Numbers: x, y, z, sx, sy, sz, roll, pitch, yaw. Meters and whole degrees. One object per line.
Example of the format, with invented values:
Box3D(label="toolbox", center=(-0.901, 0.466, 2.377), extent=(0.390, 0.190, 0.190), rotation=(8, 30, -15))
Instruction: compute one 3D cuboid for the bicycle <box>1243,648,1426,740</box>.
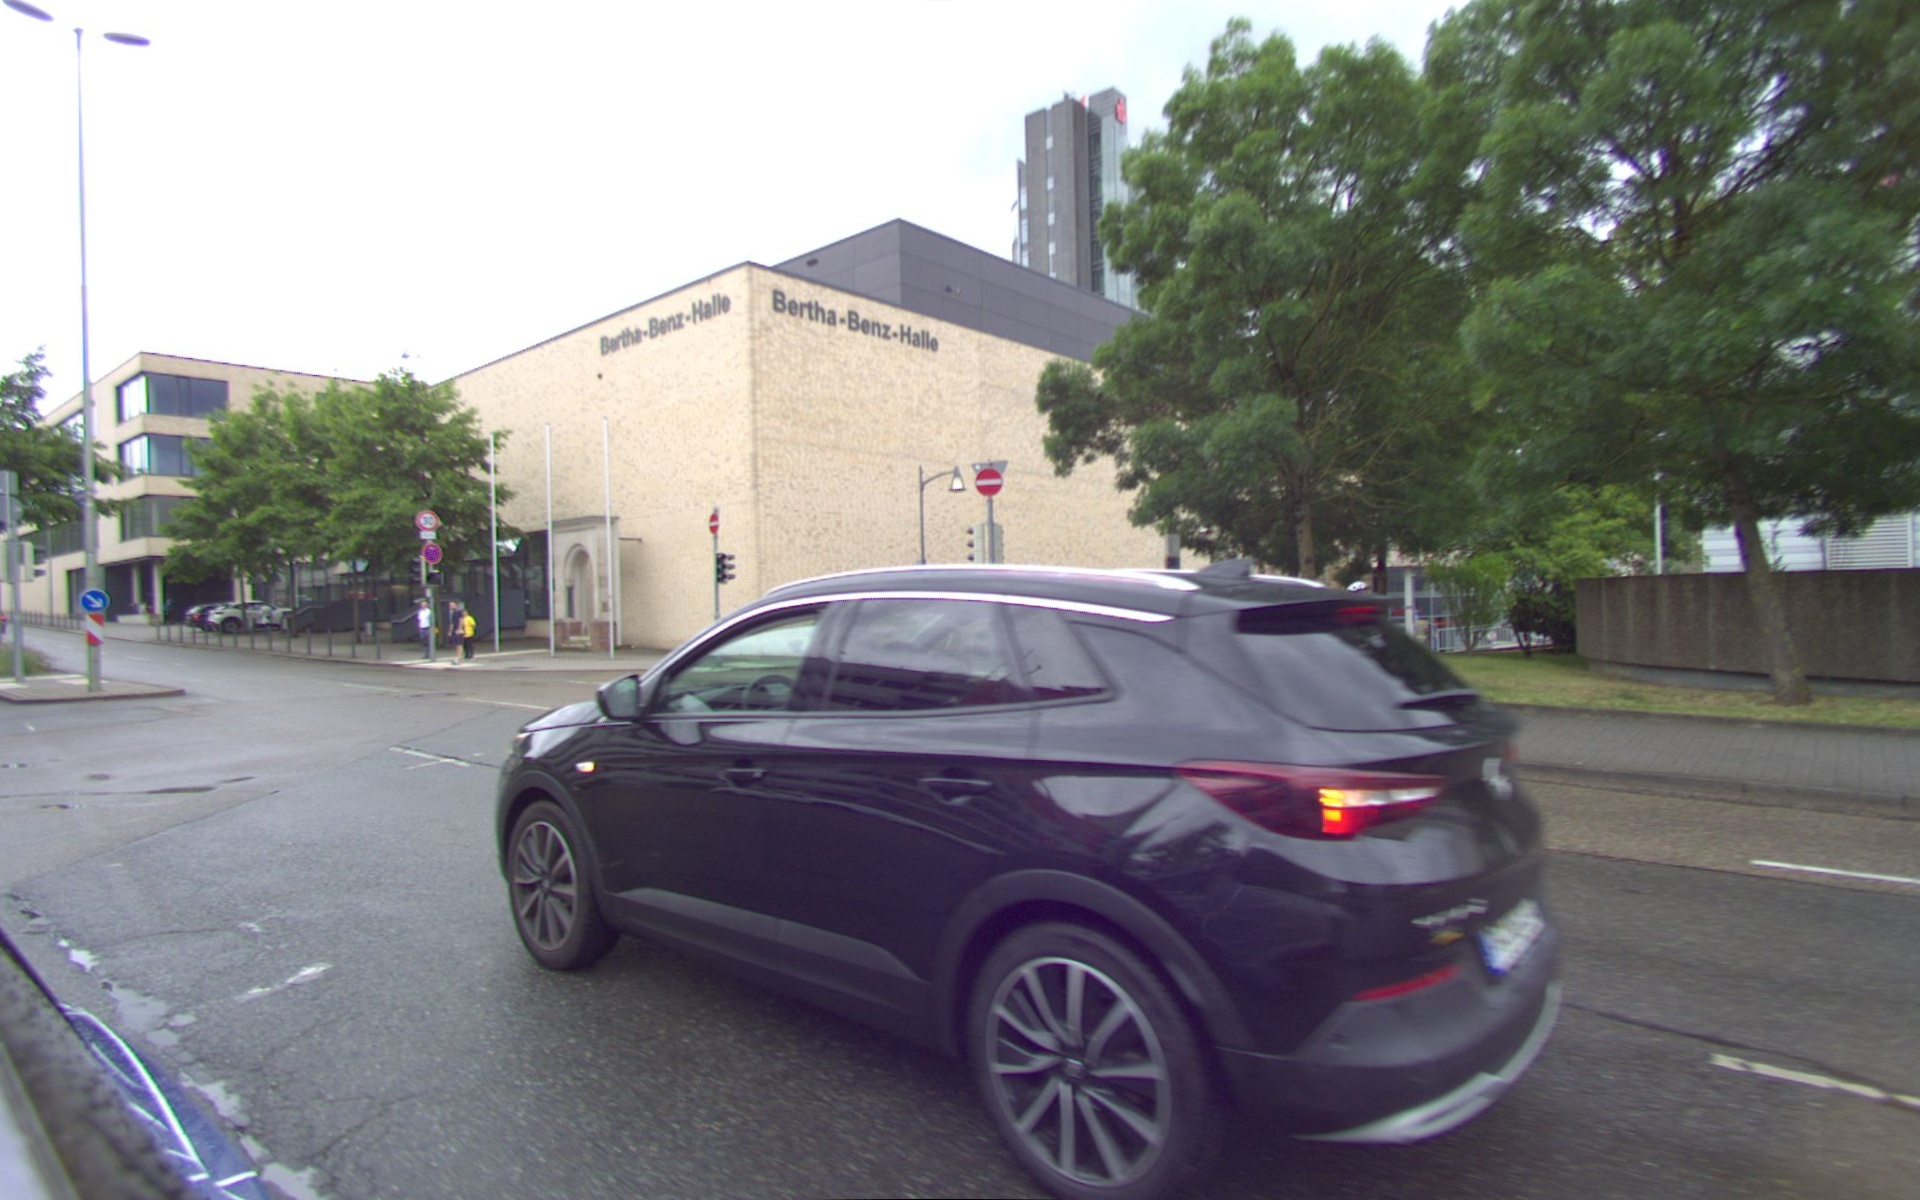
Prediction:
Box3D(label="bicycle", center=(4.492, 1.089, 12.220), extent=(1.866, 0.914, 0.876), rotation=(-1, 2, 43))

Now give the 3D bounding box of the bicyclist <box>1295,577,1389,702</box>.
Box3D(label="bicyclist", center=(4.733, 0.468, 12.534), extent=(0.812, 1.453, 0.833), rotation=(-1, 2, 42))

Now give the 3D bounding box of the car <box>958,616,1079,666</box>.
Box3D(label="car", center=(1.914, 1.319, 32.077), extent=(1.996, 1.453, 3.951), rotation=(-1, -3, 36))

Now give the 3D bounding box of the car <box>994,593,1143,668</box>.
Box3D(label="car", center=(3.148, 0.907, 28.441), extent=(1.997, 1.940, 4.731), rotation=(-1, -3, 37))

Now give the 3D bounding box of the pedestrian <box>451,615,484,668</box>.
Box3D(label="pedestrian", center=(-14.715, 1.239, 30.244), extent=(0.691, 1.527, 0.588), rotation=(-1, 2, 39))

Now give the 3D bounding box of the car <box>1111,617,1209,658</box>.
Box3D(label="car", center=(7.643, 1.446, 38.452), extent=(1.998, 1.469, 3.946), rotation=(-1, -3, 40))

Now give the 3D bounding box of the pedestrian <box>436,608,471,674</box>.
Box3D(label="pedestrian", center=(-14.293, 1.144, 28.548), extent=(0.691, 1.784, 0.588), rotation=(-1, 2, 39))

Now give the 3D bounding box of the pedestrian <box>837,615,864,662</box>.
Box3D(label="pedestrian", center=(-3.390, 1.188, 31.325), extent=(0.475, 1.386, 0.614), rotation=(-1, 2, 41))

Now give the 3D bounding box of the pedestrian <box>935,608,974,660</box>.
Box3D(label="pedestrian", center=(-0.191, 1.154, 35.037), extent=(0.806, 1.713, 1.099), rotation=(-1, 2, 38))

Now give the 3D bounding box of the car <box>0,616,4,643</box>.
Box3D(label="car", center=(-55.095, 1.665, 56.699), extent=(4.296, 1.481, 1.655), rotation=(-1, -2, 39))

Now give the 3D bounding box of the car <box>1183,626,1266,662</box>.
Box3D(label="car", center=(11.167, 1.860, 42.592), extent=(1.997, 1.469, 3.949), rotation=(-1, -3, 38))

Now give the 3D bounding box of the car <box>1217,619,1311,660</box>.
Box3D(label="car", center=(11.461, 1.505, 38.036), extent=(1.998, 1.469, 3.946), rotation=(-1, -3, 40))

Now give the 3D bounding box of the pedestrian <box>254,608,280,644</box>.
Box3D(label="pedestrian", center=(-33.137, 1.218, 48.389), extent=(0.793, 1.659, 0.977), rotation=(-3, 2, -43))

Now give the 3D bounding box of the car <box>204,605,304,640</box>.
Box3D(label="car", center=(-37.045, 1.161, 53.161), extent=(2.001, 1.596, 3.943), rotation=(-1, 2, 44))

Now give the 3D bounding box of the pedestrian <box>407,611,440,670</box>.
Box3D(label="pedestrian", center=(-16.192, 1.215, 30.546), extent=(0.691, 1.744, 0.589), rotation=(-1, 2, 36))

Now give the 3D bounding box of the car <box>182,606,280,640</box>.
Box3D(label="car", center=(-39.192, 1.198, 54.453), extent=(2.001, 1.596, 3.943), rotation=(-1, 2, 44))

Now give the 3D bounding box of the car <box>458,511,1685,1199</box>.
Box3D(label="car", center=(-0.042, 0.675, 3.769), extent=(4.293, 1.606, 1.789), rotation=(-1, 0, 42))
